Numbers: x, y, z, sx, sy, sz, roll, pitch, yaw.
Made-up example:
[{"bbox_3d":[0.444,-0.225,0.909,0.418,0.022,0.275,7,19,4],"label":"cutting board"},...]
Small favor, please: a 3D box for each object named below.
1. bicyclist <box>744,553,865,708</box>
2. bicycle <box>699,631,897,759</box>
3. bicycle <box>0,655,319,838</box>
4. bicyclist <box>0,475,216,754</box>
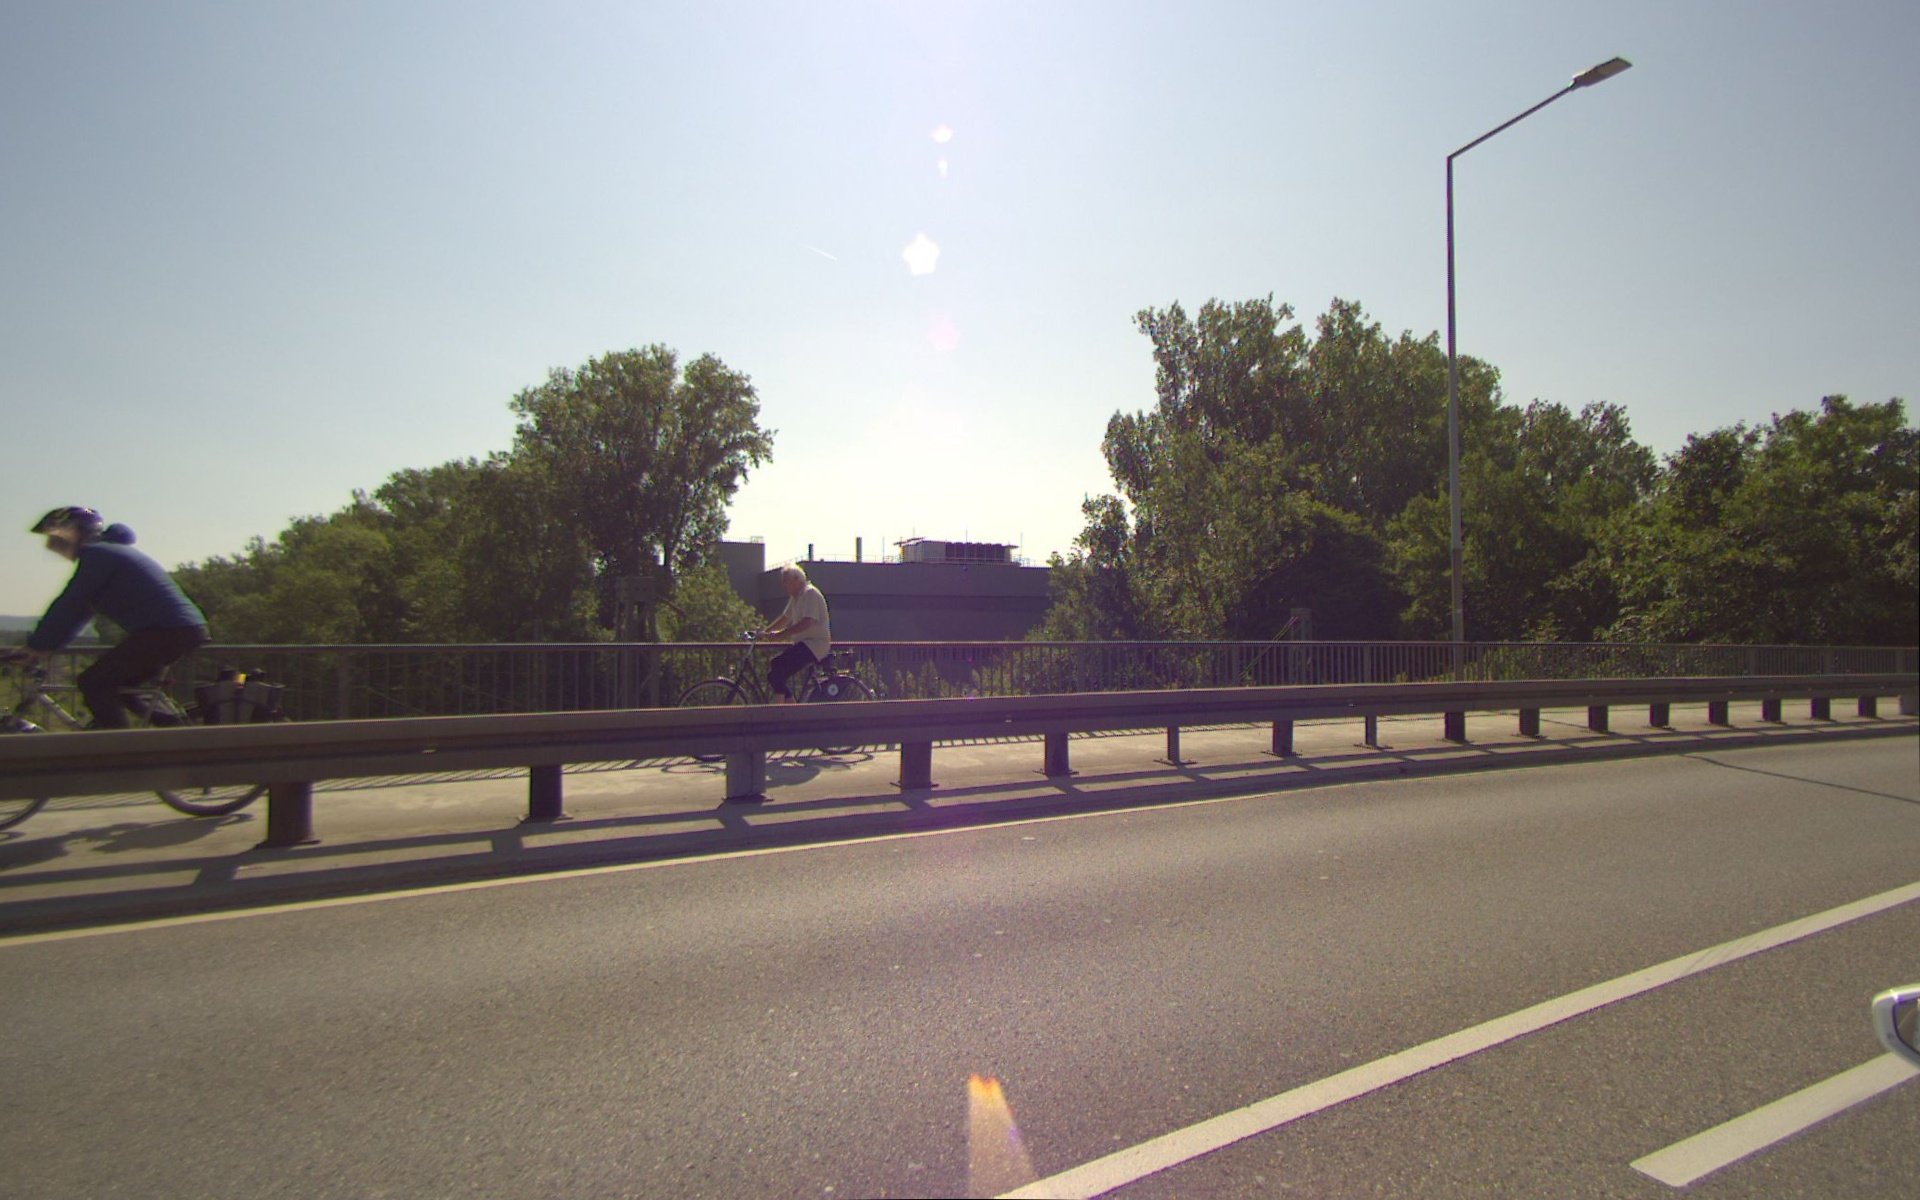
[{"bbox_3d":[-1.418,0.281,9.169,0.936,1.346,0.485,2,0,-31],"label":"bicyclist"},{"bbox_3d":[-1.456,0.826,9.144,1.689,1.060,0.571,0,-2,-30],"label":"bicycle"},{"bbox_3d":[-4.977,0.818,5.970,1.946,0.903,0.923,1,0,-32],"label":"bicycle"},{"bbox_3d":[-5.065,0.083,5.934,1.005,1.516,0.657,1,0,-32],"label":"bicyclist"}]
